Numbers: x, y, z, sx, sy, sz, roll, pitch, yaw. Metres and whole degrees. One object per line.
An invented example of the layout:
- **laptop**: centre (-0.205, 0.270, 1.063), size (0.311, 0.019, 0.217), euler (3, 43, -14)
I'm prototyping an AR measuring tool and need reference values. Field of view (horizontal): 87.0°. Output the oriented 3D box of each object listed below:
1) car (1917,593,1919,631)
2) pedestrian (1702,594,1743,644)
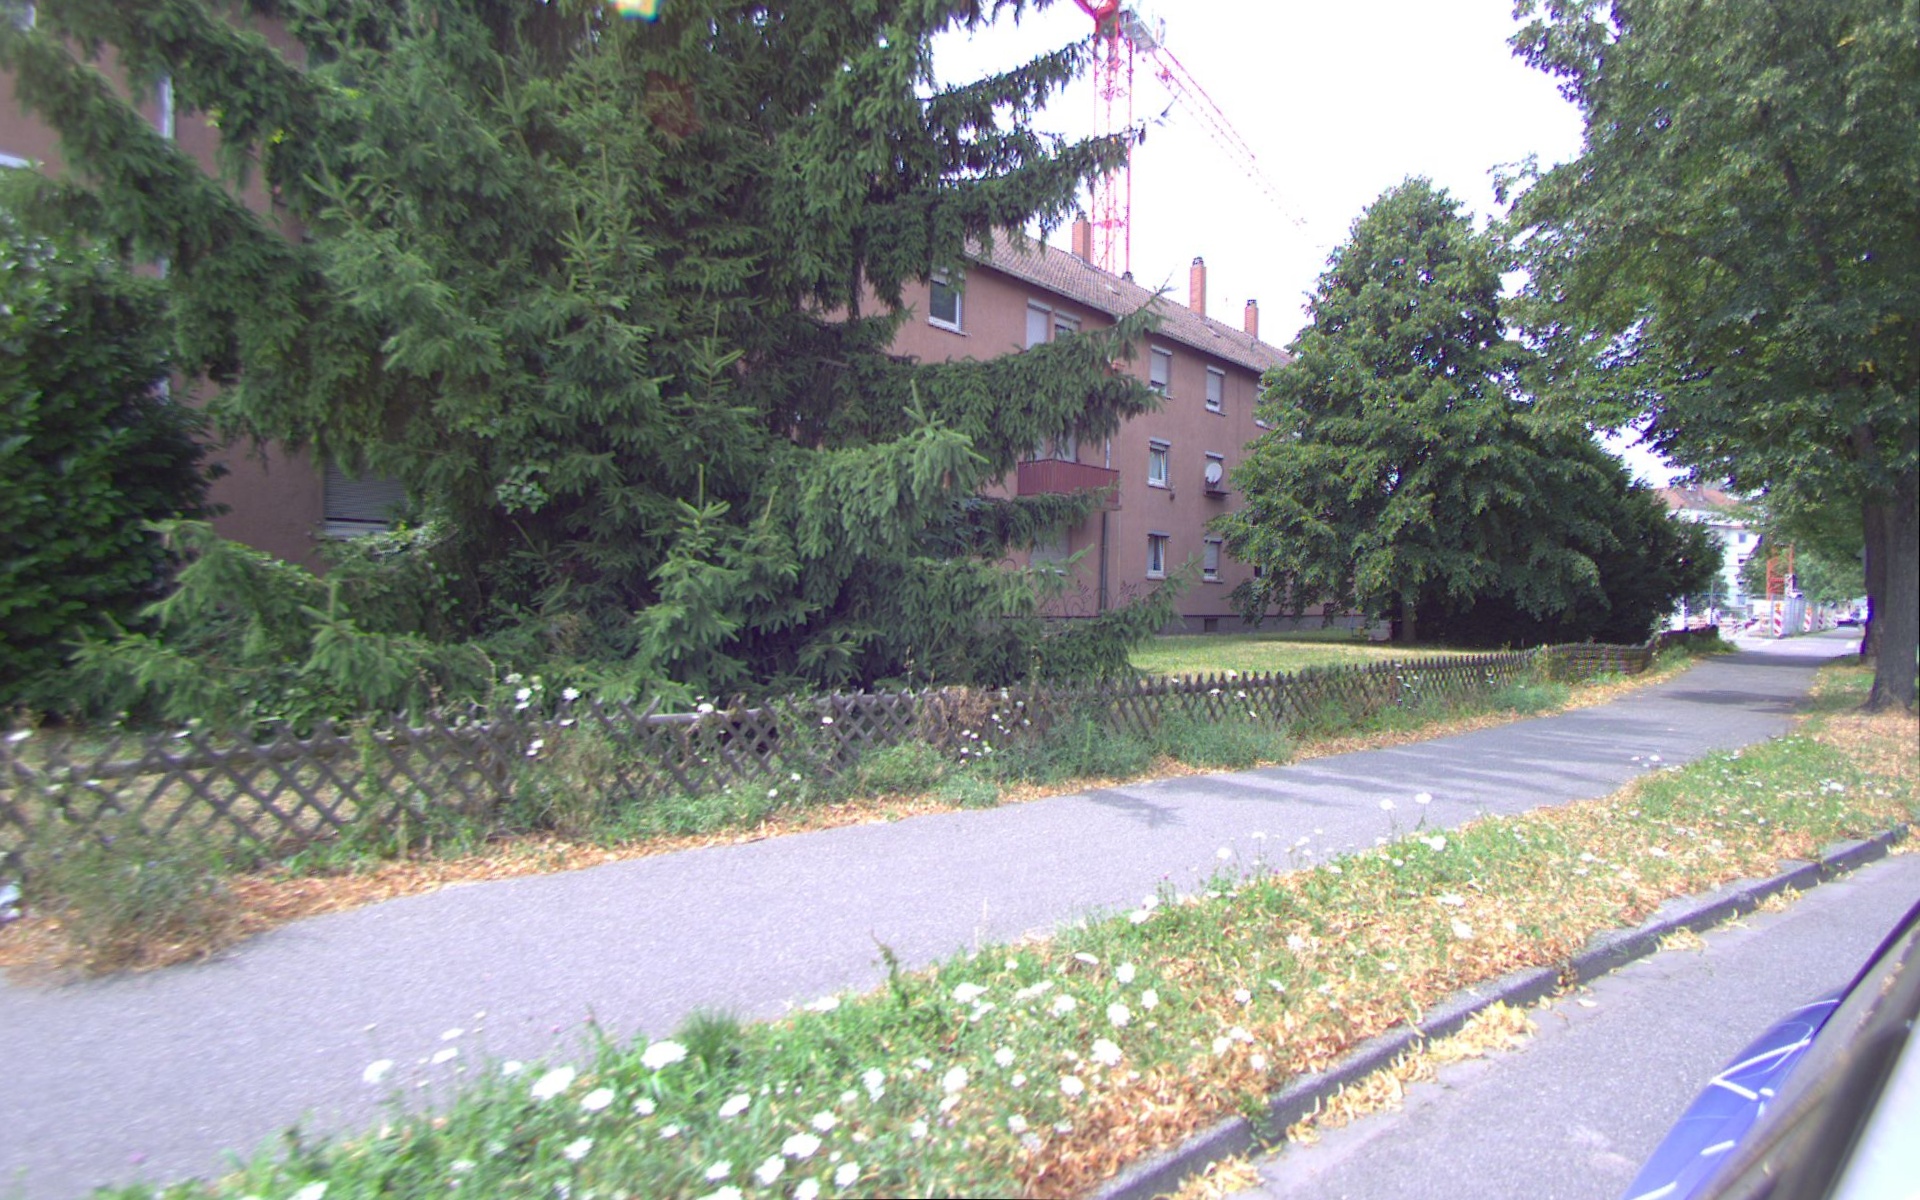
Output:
- **car**: centre (51.723, 0.688, 52.958), size (1.991, 2.038, 3.942), euler (4, 1, 39)
- **pedestrian**: centre (29.177, 0.725, 38.728), size (0.870, 1.837, 0.886), euler (2, 1, -28)
